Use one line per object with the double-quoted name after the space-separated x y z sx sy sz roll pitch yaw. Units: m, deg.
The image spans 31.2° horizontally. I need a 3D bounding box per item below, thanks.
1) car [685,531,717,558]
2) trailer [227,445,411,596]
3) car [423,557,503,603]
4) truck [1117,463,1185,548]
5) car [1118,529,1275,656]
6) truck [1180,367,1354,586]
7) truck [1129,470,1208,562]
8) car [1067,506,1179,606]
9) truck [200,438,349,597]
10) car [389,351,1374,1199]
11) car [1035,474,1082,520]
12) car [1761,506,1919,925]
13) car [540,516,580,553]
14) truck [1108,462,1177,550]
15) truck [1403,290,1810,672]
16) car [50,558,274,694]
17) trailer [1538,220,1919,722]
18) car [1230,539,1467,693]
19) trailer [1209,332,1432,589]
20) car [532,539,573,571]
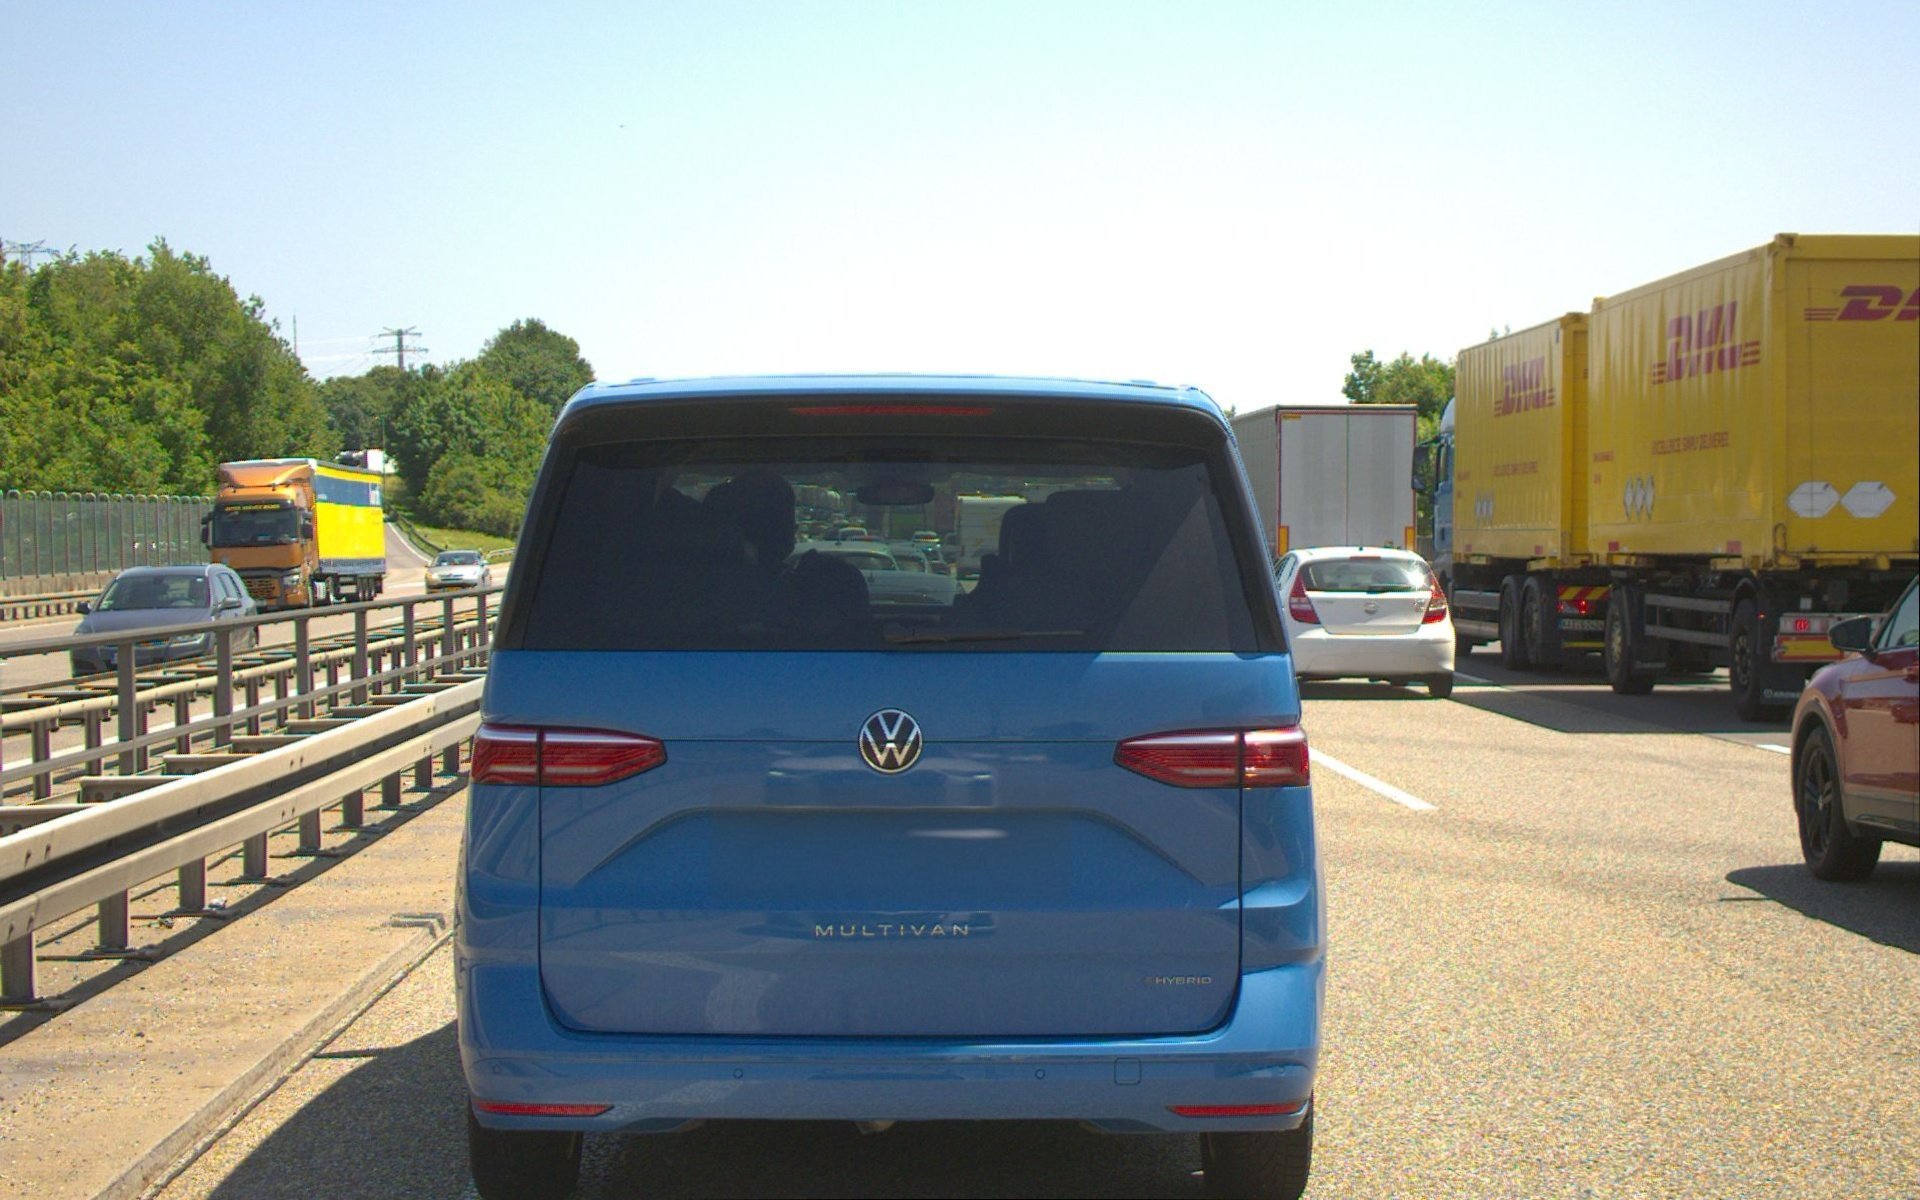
-16.952 -3.622 225.235 1.842 1.745 3.943 1 1 -1 "car"
-18.634 -2.251 100.989 2.628 4.100 14.016 -1 1 1 "trailer"
-15.327 -0.633 106.156 1.689 1.299 4.012 -3 0 2 "car"
6.009 -2.969 108.528 1.797 2.587 4.306 1 1 -1 "truck"
3.247 -0.121 47.844 1.815 1.673 3.932 1 1 -1 "car"
6.753 -2.649 76.768 3.026 4.595 7.921 1 1 -1 "truck"
5.694 -2.273 94.386 1.798 2.441 4.504 1 1 -1 "truck"
3.247 -0.885 69.210 1.962 1.929 3.932 1 1 -1 "car"
-18.713 -2.223 94.217 2.672 4.170 6.287 -1 0 1 "truck"
-0.197 0.433 8.806 1.930 1.867 4.000 1 1 -1 "car"
4.541 -4.755 159.123 1.993 2.007 4.000 1 1 -1 "car"
4.689 0.464 14.059 1.708 1.673 4.285 1 1 -1 "car"
-22.571 -3.712 194.094 1.842 2.035 3.943 1 1 -1 "car"
5.447 -2.781 103.102 1.742 2.540 4.210 1 1 -1 "truck"
7.603 -1.327 41.989 2.699 4.074 9.941 1 1 -2 "truck"
-9.764 0.279 42.379 1.762 1.503 4.223 -2 1 0 "car"
7.777 -1.089 32.541 2.682 4.074 8.982 1 1 -2 "trailer"
3.893 0.132 35.056 1.815 1.465 3.932 1 1 -2 "car"
6.881 -2.564 67.340 3.026 4.595 10.925 1 1 -1 "trailer"
-22.335 -2.460 188.598 1.842 1.745 3.943 1 1 -1 "car"
